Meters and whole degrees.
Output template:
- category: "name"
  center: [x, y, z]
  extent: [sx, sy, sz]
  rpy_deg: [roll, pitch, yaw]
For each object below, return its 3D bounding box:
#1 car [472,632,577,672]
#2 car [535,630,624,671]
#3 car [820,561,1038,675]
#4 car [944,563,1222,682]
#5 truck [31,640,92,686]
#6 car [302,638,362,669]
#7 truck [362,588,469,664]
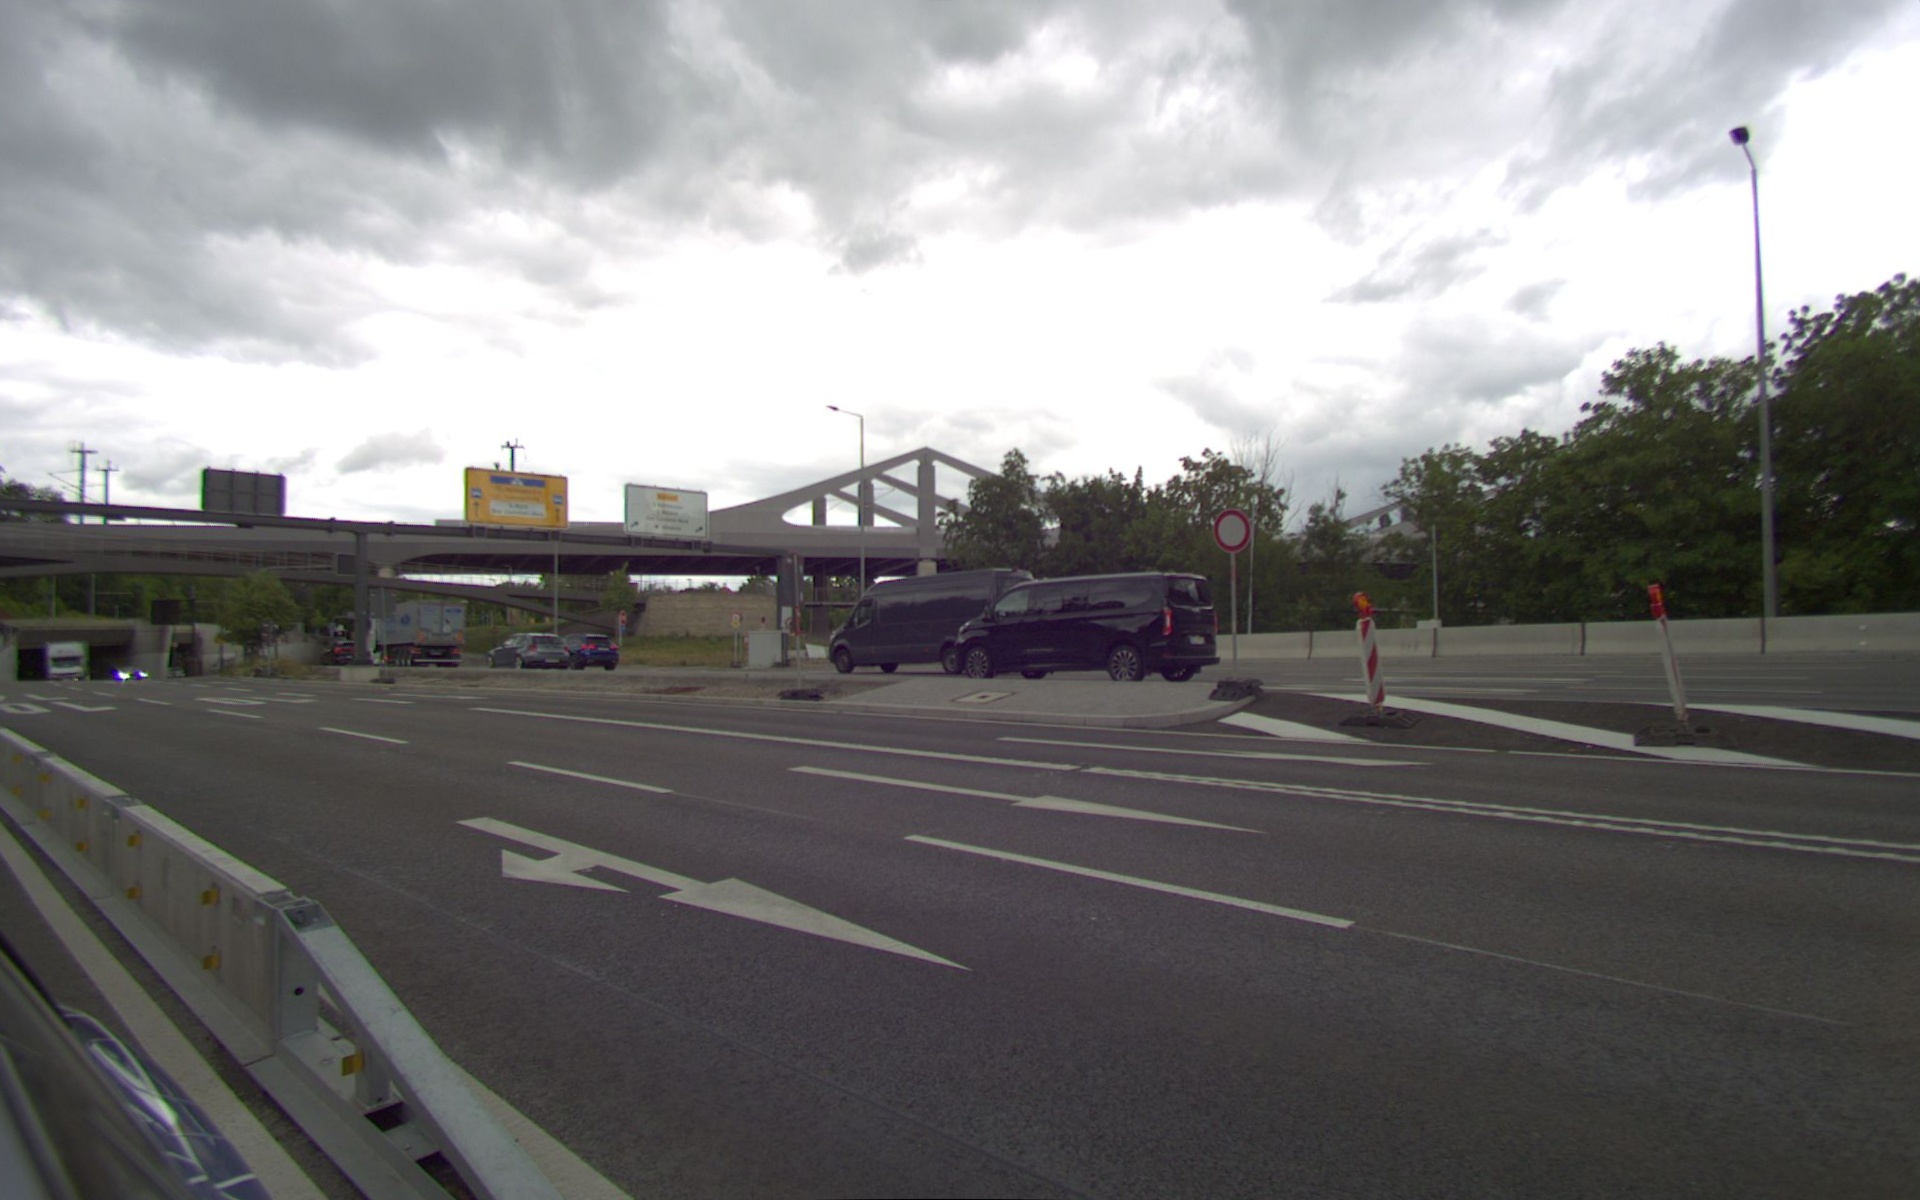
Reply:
- category: "car"
  center: [-15.851, 1.909, 36.753]
  extent: [4.254, 1.341, 1.866]
  rpy_deg: [-4, -4, 41]
- category: "car"
  center: [-17.081, 2.282, 45.319]
  extent: [4.486, 1.697, 1.866]
  rpy_deg: [-3, -2, 42]
- category: "car"
  center: [-0.993, 0.561, 27.702]
  extent: [6.144, 2.798, 2.191]
  rpy_deg: [-3, -2, 43]
- category: "car"
  center: [2.242, 0.492, 19.659]
  extent: [5.189, 2.029, 1.941]
  rpy_deg: [-3, -3, 43]
- category: "truck"
  center: [-67.070, 4.653, 75.503]
  extent: [8.120, 3.150, 2.711]
  rpy_deg: [-3, -2, 43]
- category: "car"
  center: [-35.427, 3.042, 57.021]
  extent: [4.452, 1.633, 1.687]
  rpy_deg: [-3, -6, 43]
- category: "truck"
  center: [-33.042, 1.768, 61.001]
  extent: [2.862, 4.093, 14.010]
  rpy_deg: [2, -4, -40]
